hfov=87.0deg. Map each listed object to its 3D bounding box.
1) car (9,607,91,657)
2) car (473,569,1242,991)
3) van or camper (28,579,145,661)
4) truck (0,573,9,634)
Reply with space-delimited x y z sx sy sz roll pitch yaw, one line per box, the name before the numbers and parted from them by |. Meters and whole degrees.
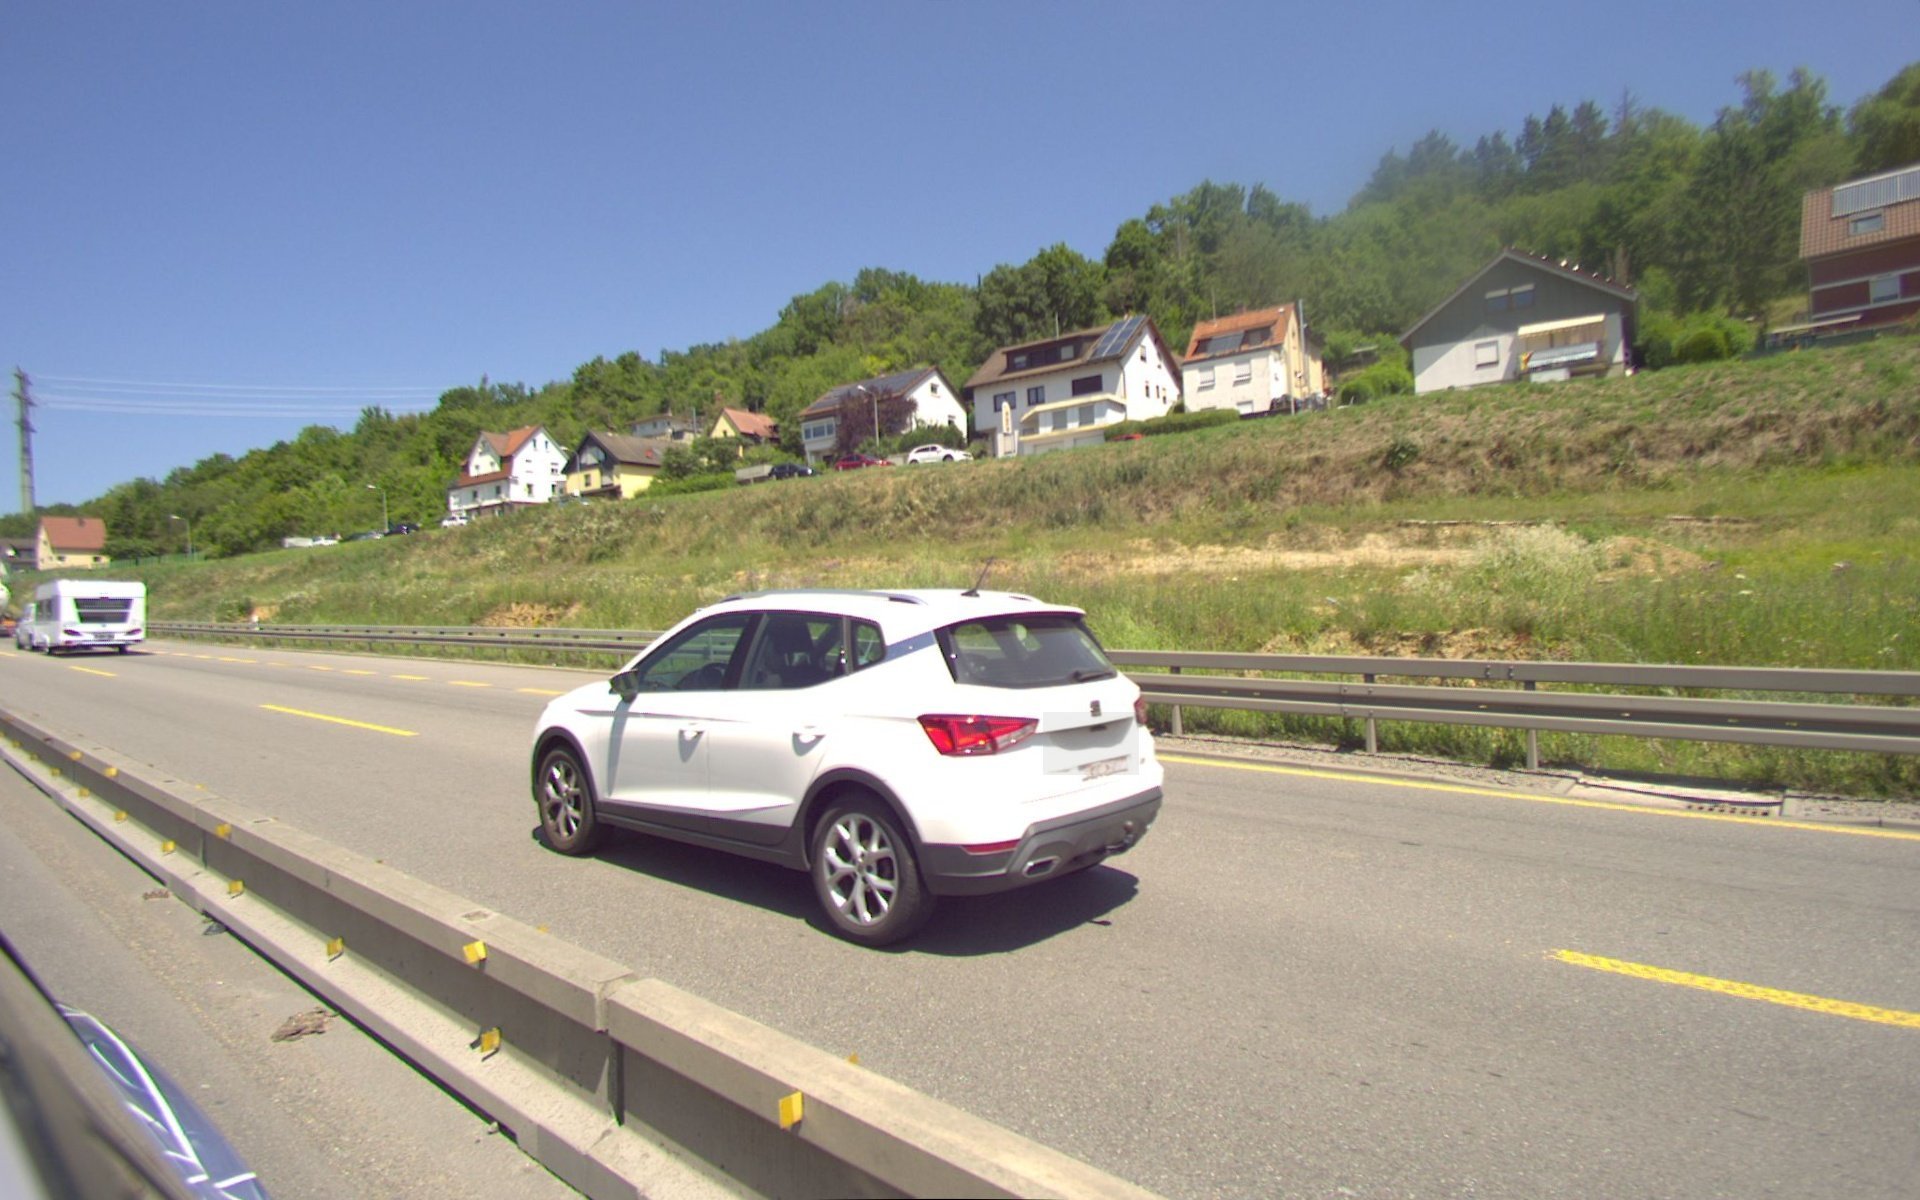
car | -36.461 1.243 40.529 3.663 1.833 1.973 -1 1 41
car | -0.907 0.655 5.693 4.538 1.487 1.656 -1 0 41
van or camper | -30.985 0.680 35.834 6.049 2.670 2.351 -1 -1 41
truck | -58.468 0.296 59.797 9.301 3.457 2.355 -1 1 41
